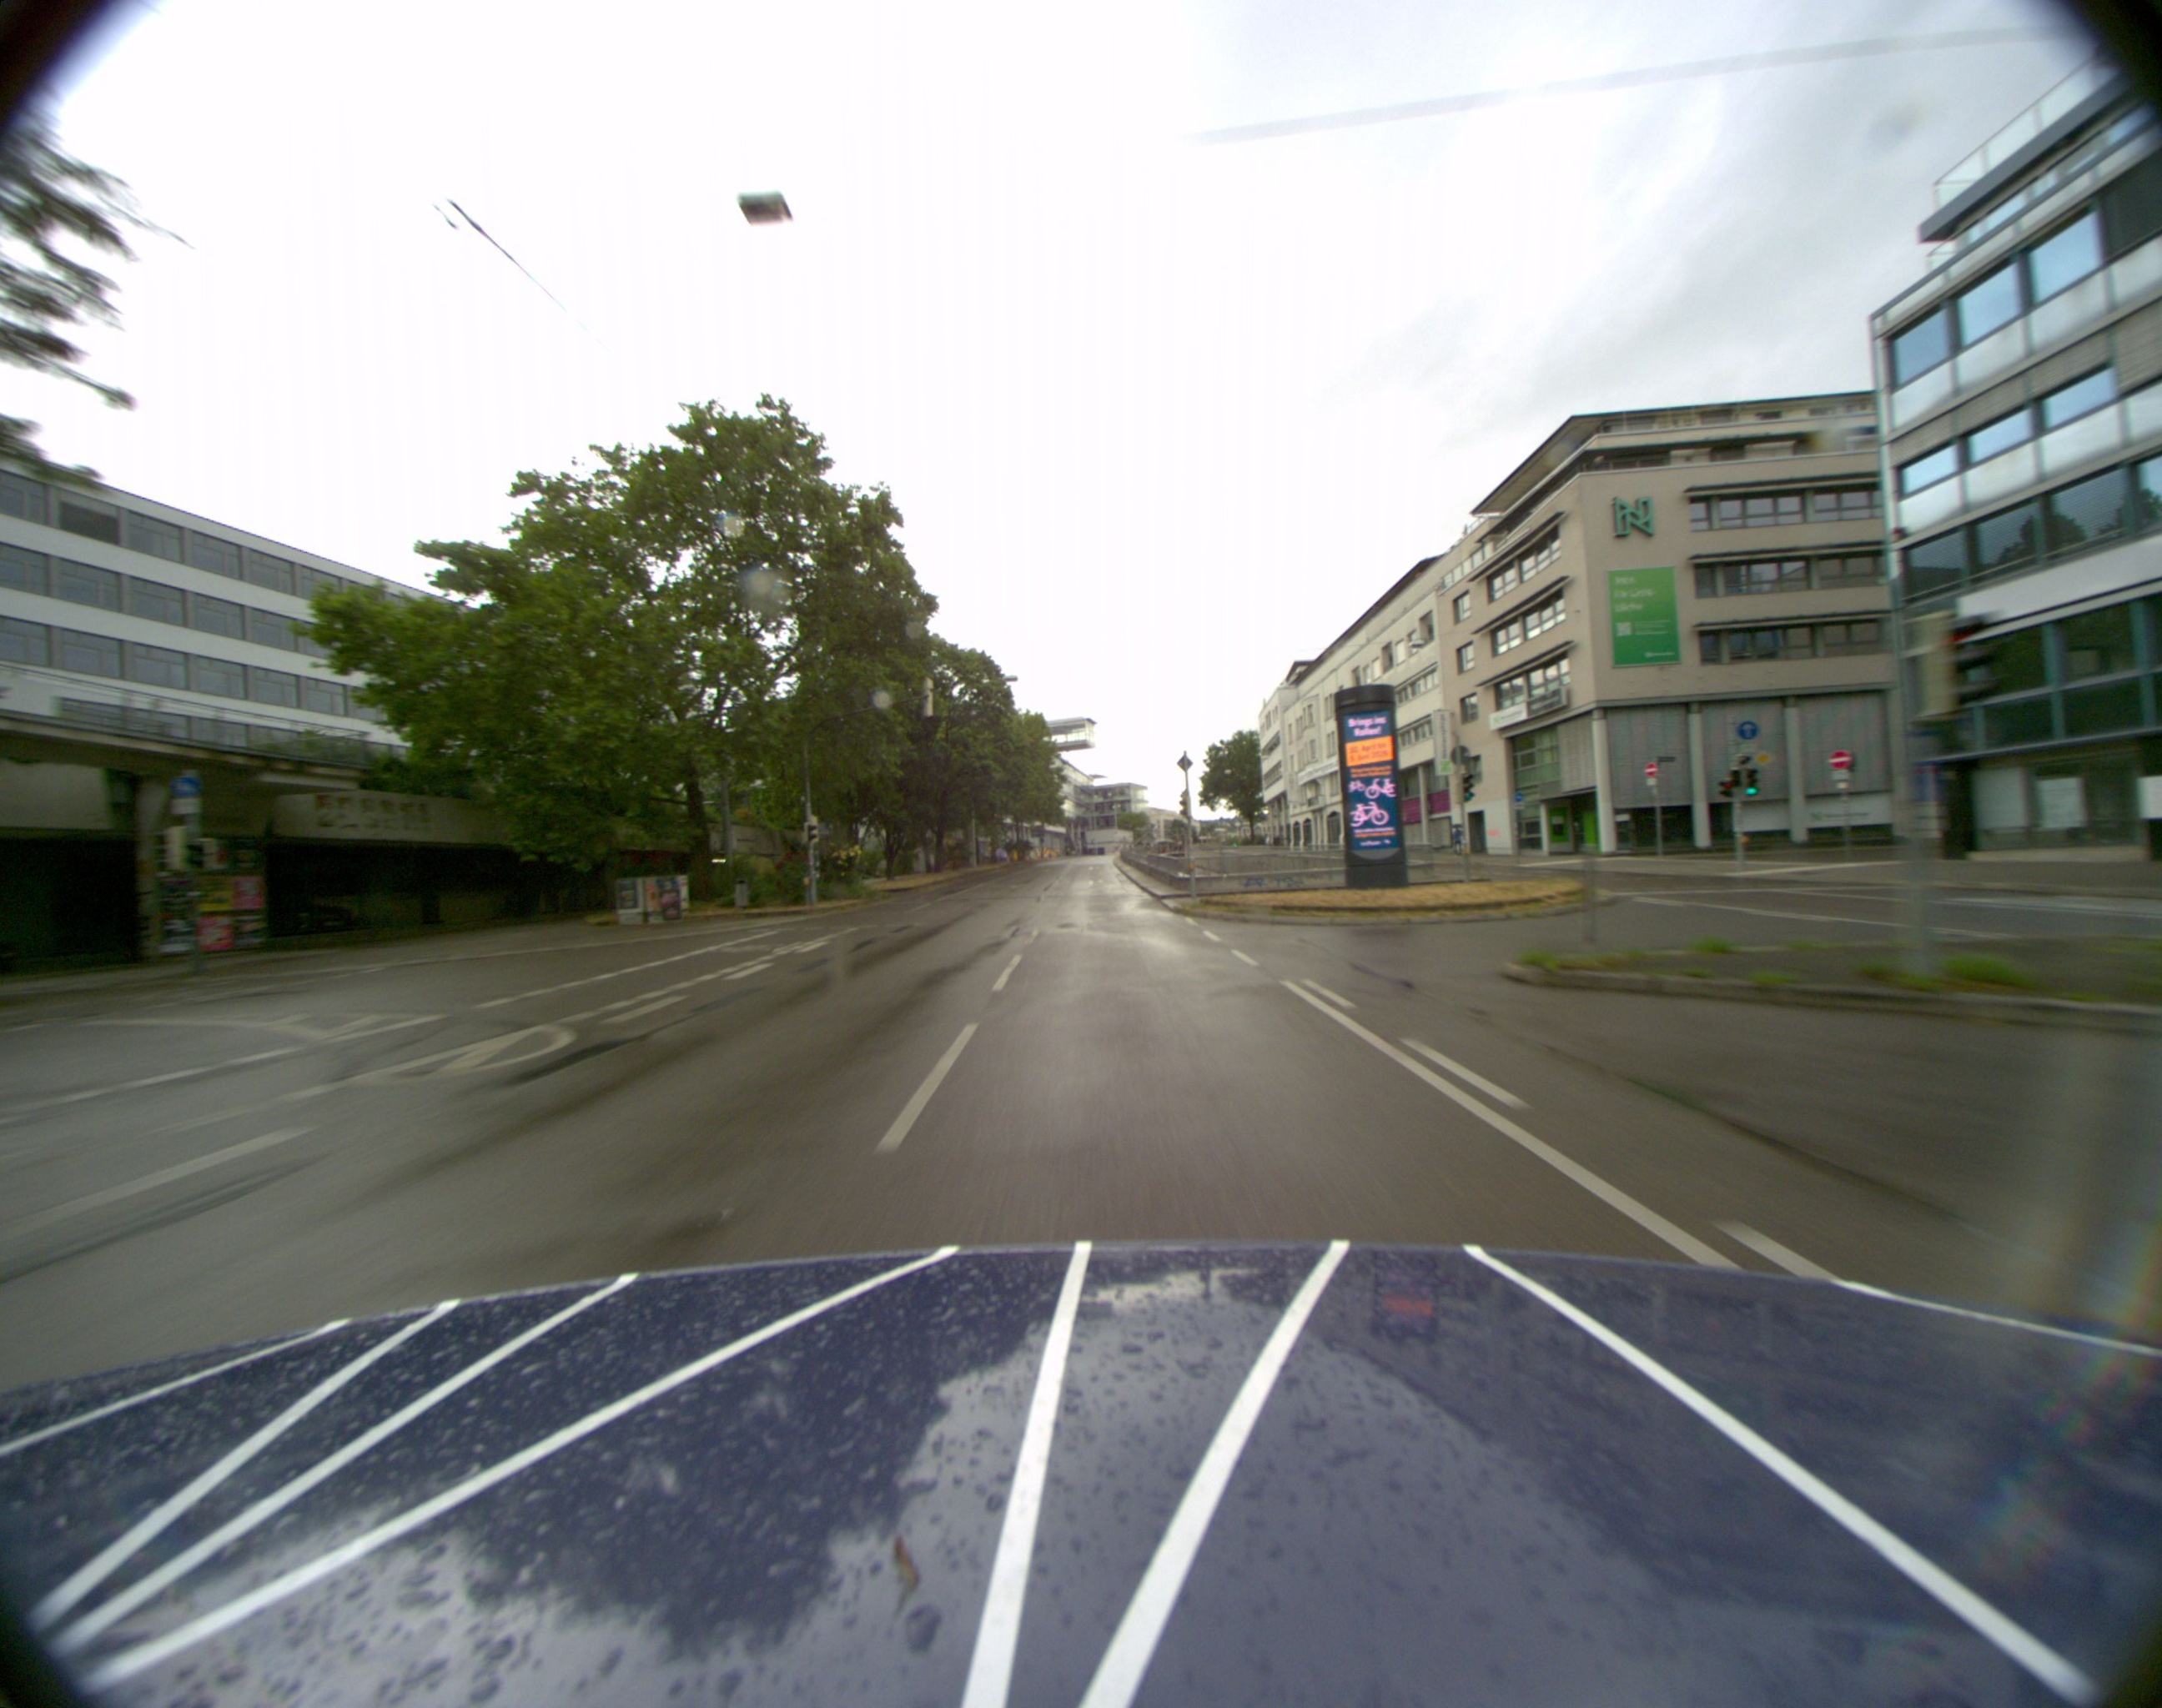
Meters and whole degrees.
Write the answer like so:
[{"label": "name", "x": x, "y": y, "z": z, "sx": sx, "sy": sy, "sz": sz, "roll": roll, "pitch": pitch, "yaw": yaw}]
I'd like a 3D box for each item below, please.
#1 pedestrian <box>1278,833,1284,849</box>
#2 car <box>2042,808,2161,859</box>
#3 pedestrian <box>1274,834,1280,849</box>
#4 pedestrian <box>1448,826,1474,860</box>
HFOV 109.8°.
[{"label": "pedestrian", "x": 23.075, "y": -1.465, "z": 87.817, "sx": 0.470, "sy": 1.792, "sz": 0.547, "roll": -4, "pitch": 1, "yaw": 3}, {"label": "car", "x": 34.451, "y": -0.685, "z": 24.666, "sx": 3.997, "sy": 1.548, "sz": 2.000, "roll": -2, "pitch": 0, "yaw": -1}, {"label": "pedestrian", "x": 22.982, "y": -1.462, "z": 89.078, "sx": 0.547, "sy": 1.792, "sz": 0.470, "roll": -4, "pitch": 1, "yaw": -7}, {"label": "pedestrian", "x": 21.623, "y": -0.629, "z": 43.228, "sx": 0.859, "sy": 1.827, "sz": 1.059, "roll": -4, "pitch": 1, "yaw": 1}]
